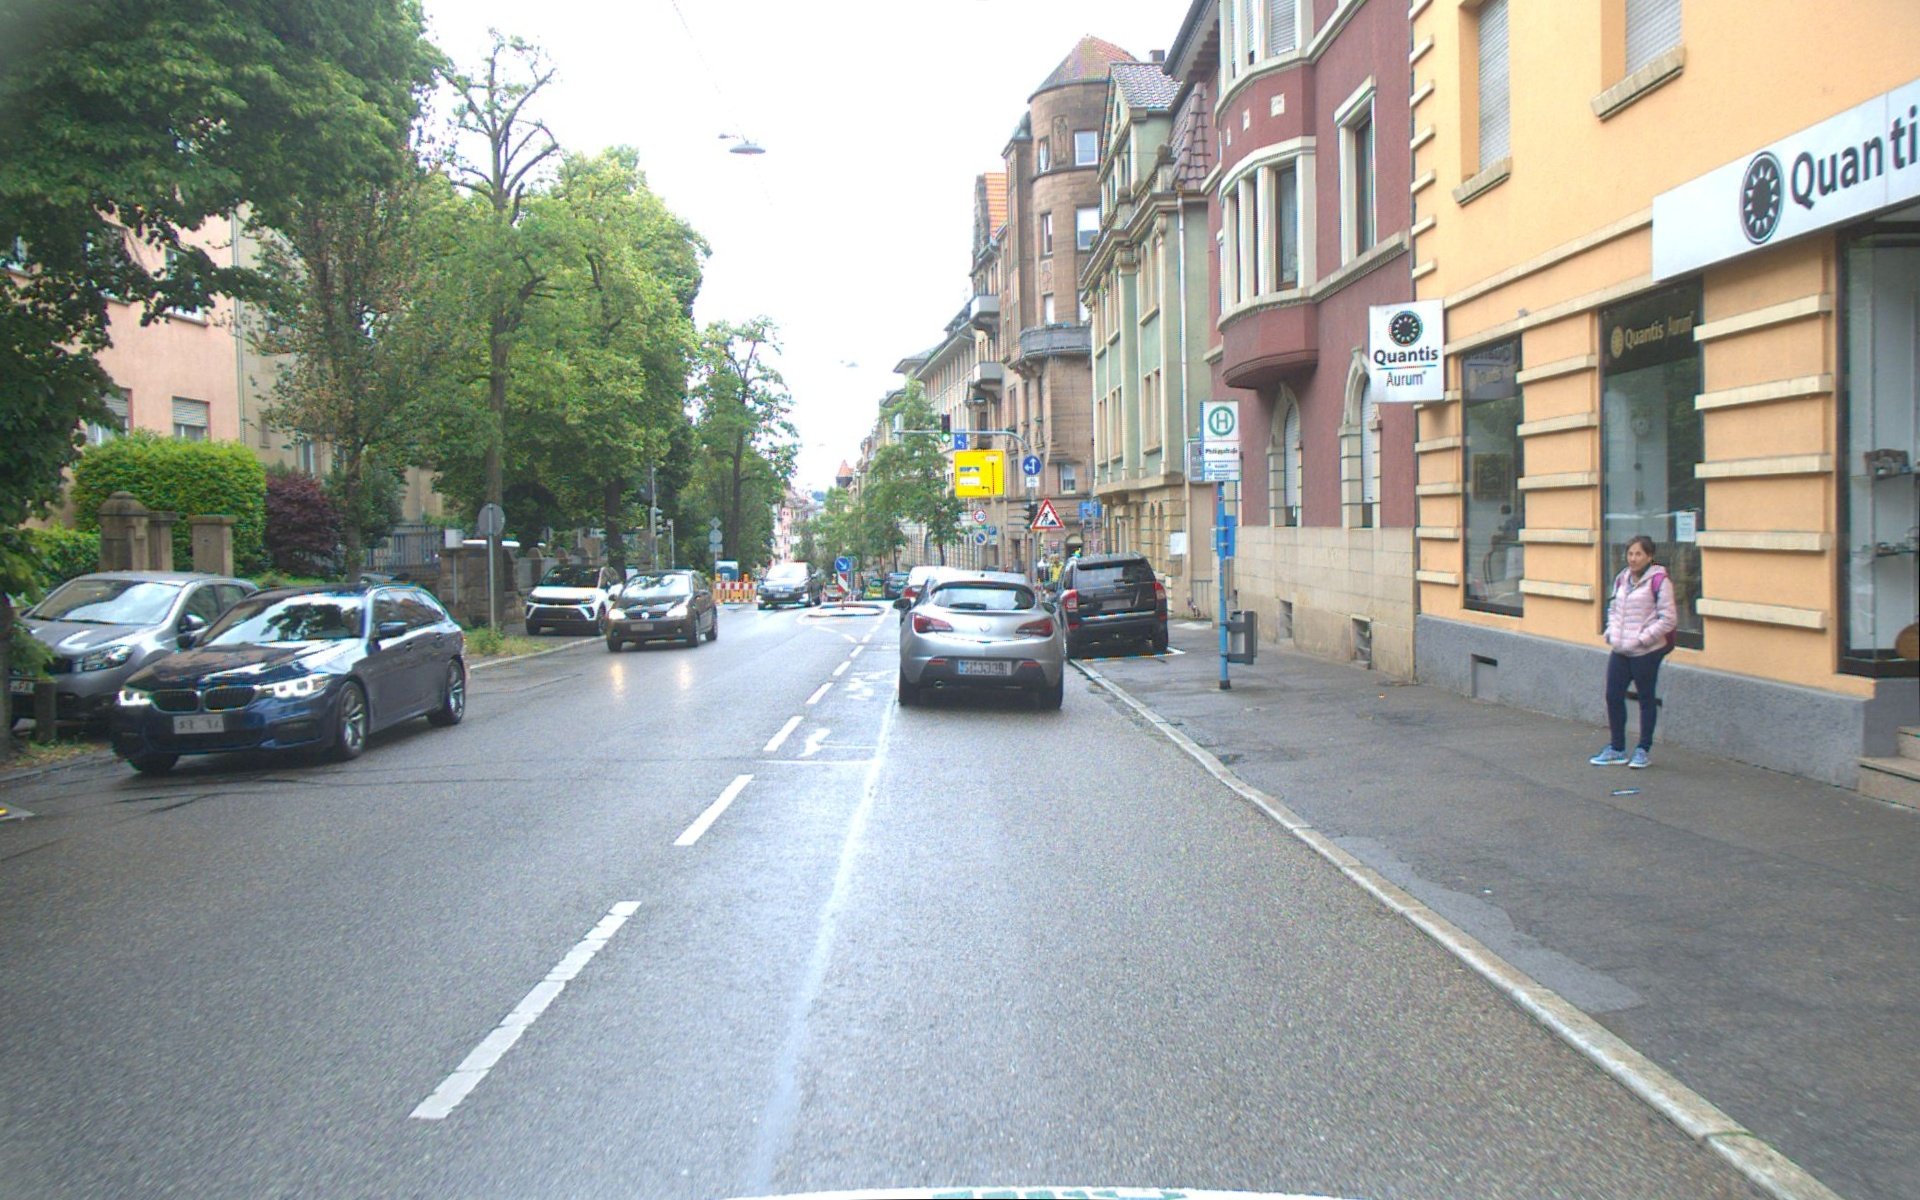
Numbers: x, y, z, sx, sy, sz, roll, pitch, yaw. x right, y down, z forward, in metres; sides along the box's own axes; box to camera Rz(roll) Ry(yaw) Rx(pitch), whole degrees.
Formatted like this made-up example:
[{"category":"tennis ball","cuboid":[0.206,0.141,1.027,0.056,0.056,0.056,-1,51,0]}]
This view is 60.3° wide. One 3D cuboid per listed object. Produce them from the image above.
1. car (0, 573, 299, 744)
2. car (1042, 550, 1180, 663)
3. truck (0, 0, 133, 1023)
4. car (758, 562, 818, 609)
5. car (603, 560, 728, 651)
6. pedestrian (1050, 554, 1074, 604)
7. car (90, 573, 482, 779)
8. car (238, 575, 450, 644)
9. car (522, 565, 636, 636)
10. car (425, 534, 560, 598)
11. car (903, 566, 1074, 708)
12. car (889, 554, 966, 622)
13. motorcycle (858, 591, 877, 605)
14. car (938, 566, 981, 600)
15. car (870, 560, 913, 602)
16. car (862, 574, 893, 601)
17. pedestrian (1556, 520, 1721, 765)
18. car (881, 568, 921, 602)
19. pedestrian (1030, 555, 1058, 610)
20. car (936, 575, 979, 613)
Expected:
[{"category":"car","cuboid":[-8.766,0.543,17.633,1.706,1.586,4.302,1,0,0]},{"category":"car","cuboid":[2.505,0.098,28.497,1.839,1.658,4.697,-4,0,0]},{"category":"truck","cuboid":[-4.594,-0.395,1.949,2.594,3.921,9.304,-3,1,-2]},{"category":"car","cuboid":[-5.816,-0.521,56.381,1.779,1.544,4.546,0,1,-3]},{"category":"car","cuboid":[-5.818,0.054,33.157,1.736,1.543,4.590,-2,3,-2]},{"category":"pedestrian","cuboid":[3.435,-0.710,55.611,0.584,1.612,0.666,-3,1,18]},{"category":"car","cuboid":[-5.938,0.553,15.276,1.736,1.493,4.747,-2,2,-2]},{"category":"car","cuboid":[-13.353,0.195,36.024,3.907,1.349,1.836,-1,1,-2]},{"category":"car","cuboid":[-9.006,0.008,39.416,1.706,1.586,4.302,1,0,0]},{"category":"car","cuboid":[-18.262,-1.359,64.621,4.565,2.083,2.027,5,3,14]},{"category":"car","cuboid":[0.314,0.377,19.150,1.774,1.475,3.869,0,0,0]},{"category":"car","cuboid":[-0.738,-0.272,39.224,1.736,1.531,3.869,0,0,0]},{"category":"motorcycle","cuboid":[-8.434,-0.169,151.016,0.643,1.257,1.977,0,-2,32]},{"category":"car","cuboid":[-0.035,-0.829,83.673,1.625,1.570,3.659,-3,0,-7]},{"category":"car","cuboid":[-2.762,-0.752,67.223,1.623,1.570,3.664,-3,0,-2]},{"category":"car","cuboid":[-5.191,-0.790,103.908,1.625,1.570,3.659,-3,0,-7]},{"category":"pedestrian","cuboid":[4.699,0.279,11.477,0.755,1.617,0.708,-1,0,-20]},{"category":"car","cuboid":[-2.983,-0.755,83.355,1.625,1.570,3.659,-3,0,-7]},{"category":"pedestrian","cuboid":[2.837,-0.606,55.805,0.703,1.805,0.666,-3,1,18]},{"category":"car","cuboid":[-0.103,-0.241,68.956,1.736,1.531,3.869,0,0,0]}]
